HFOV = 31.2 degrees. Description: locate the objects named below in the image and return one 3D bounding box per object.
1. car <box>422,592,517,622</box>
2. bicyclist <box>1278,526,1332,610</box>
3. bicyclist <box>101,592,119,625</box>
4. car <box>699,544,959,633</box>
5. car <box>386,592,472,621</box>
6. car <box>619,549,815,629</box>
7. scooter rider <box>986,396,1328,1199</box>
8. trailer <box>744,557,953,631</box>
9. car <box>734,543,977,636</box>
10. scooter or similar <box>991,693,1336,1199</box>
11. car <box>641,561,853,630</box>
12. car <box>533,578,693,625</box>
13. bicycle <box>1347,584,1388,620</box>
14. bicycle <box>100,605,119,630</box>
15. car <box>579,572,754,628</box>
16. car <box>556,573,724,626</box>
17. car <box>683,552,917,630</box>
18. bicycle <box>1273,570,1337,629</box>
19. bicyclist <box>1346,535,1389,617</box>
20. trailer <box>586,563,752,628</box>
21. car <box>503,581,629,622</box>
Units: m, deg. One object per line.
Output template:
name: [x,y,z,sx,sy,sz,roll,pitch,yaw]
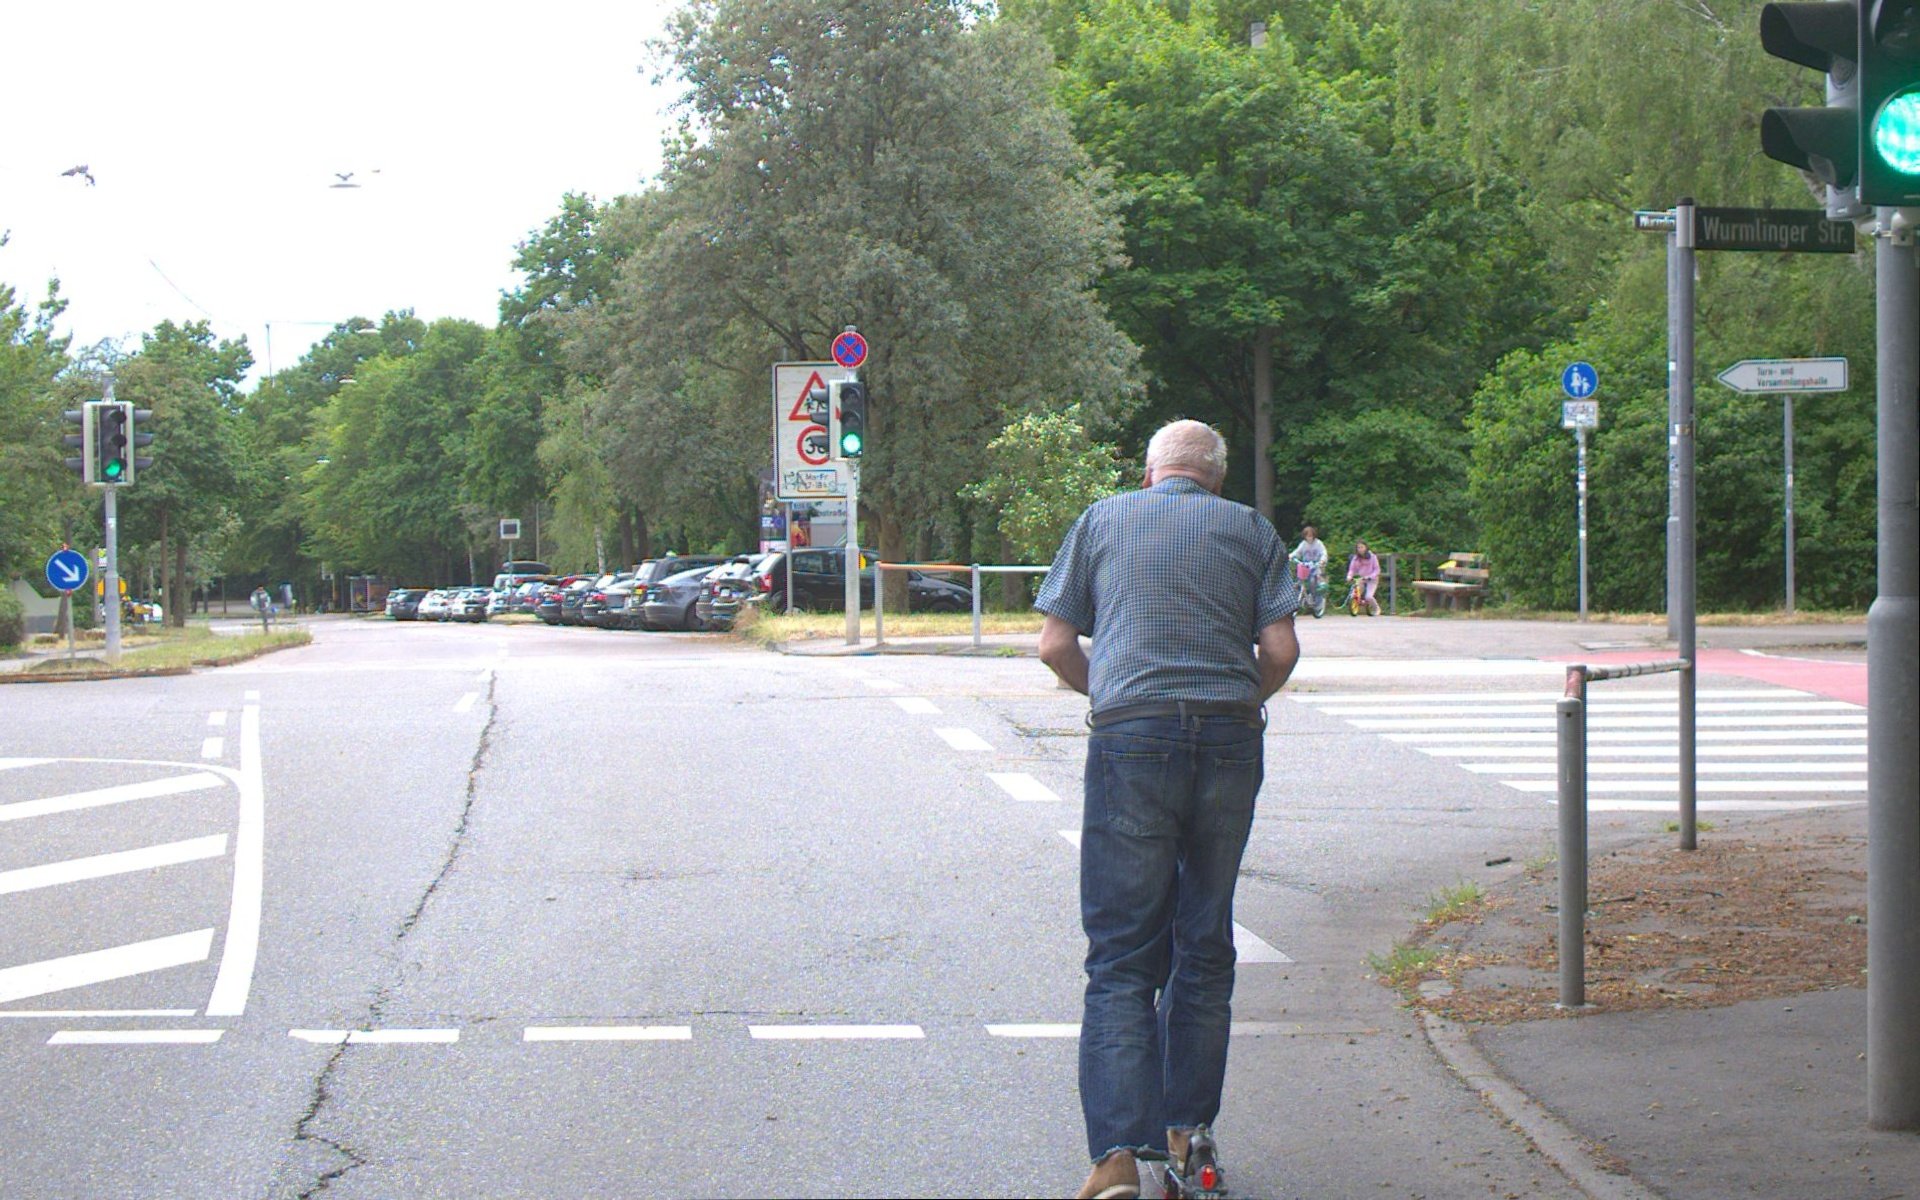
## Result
car: [-22.189,0.307,155.469,3.885,1.305,1.743,-1,0,-35]
bicyclist: [4.921,-0.458,49.060,0.639,1.158,0.804,-1,3,-3]
bicyclist: [-43.837,0.415,177.217,0.844,1.692,0.714,-1,0,-11]
car: [-2.231,-0.194,58.662,4.134,1.471,1.577,0,0,-21]
car: [-26.761,0.327,173.297,3.884,1.424,1.743,-1,0,-30]
car: [-5.359,-0.242,75.676,3.985,1.719,1.681,-1,-1,-20]
scooter rider: [0.419,0.433,7.531,0.681,1.724,1.197,0,2,2]
trailer: [-2.003,-0.102,61.601,3.401,1.262,1.617,-1,-1,-20]
car: [-1.720,-0.185,56.109,3.714,1.471,1.577,0,0,-13]
scooter or similar: [0.431,0.819,7.571,0.681,1.135,1.460,0,2,2]
car: [-4.537,-0.101,73.128,4.158,1.402,1.698,-1,-1,-21]
car: [-10.181,0.048,100.856,4.311,1.336,1.734,0,0,-24]
bicycle: [6.022,0.030,50.798,0.518,0.496,0.988,-1,-1,2]
bicycle: [-43.818,0.906,177.169,0.844,1.262,2.652,-1,1,-12]
car: [-7.292,-0.011,85.339,4.036,1.323,1.560,-1,-1,-19]
car: [-8.894,-0.026,95.541,4.343,1.440,1.634,0,0,-25]
car: [-3.096,-0.177,66.379,4.218,1.459,1.635,-1,0,-19]
bicycle: [4.924,-0.015,49.105,0.639,0.756,1.681,-1,3,-4]
bicyclist: [6.018,-0.348,50.801,0.518,1.183,0.967,-1,-1,2]
trailer: [-7.042,-0.109,83.091,3.687,1.530,1.646,0,0,-22]
car: [-13.600,0.055,118.585,3.964,1.401,1.757,0,0,-25]
